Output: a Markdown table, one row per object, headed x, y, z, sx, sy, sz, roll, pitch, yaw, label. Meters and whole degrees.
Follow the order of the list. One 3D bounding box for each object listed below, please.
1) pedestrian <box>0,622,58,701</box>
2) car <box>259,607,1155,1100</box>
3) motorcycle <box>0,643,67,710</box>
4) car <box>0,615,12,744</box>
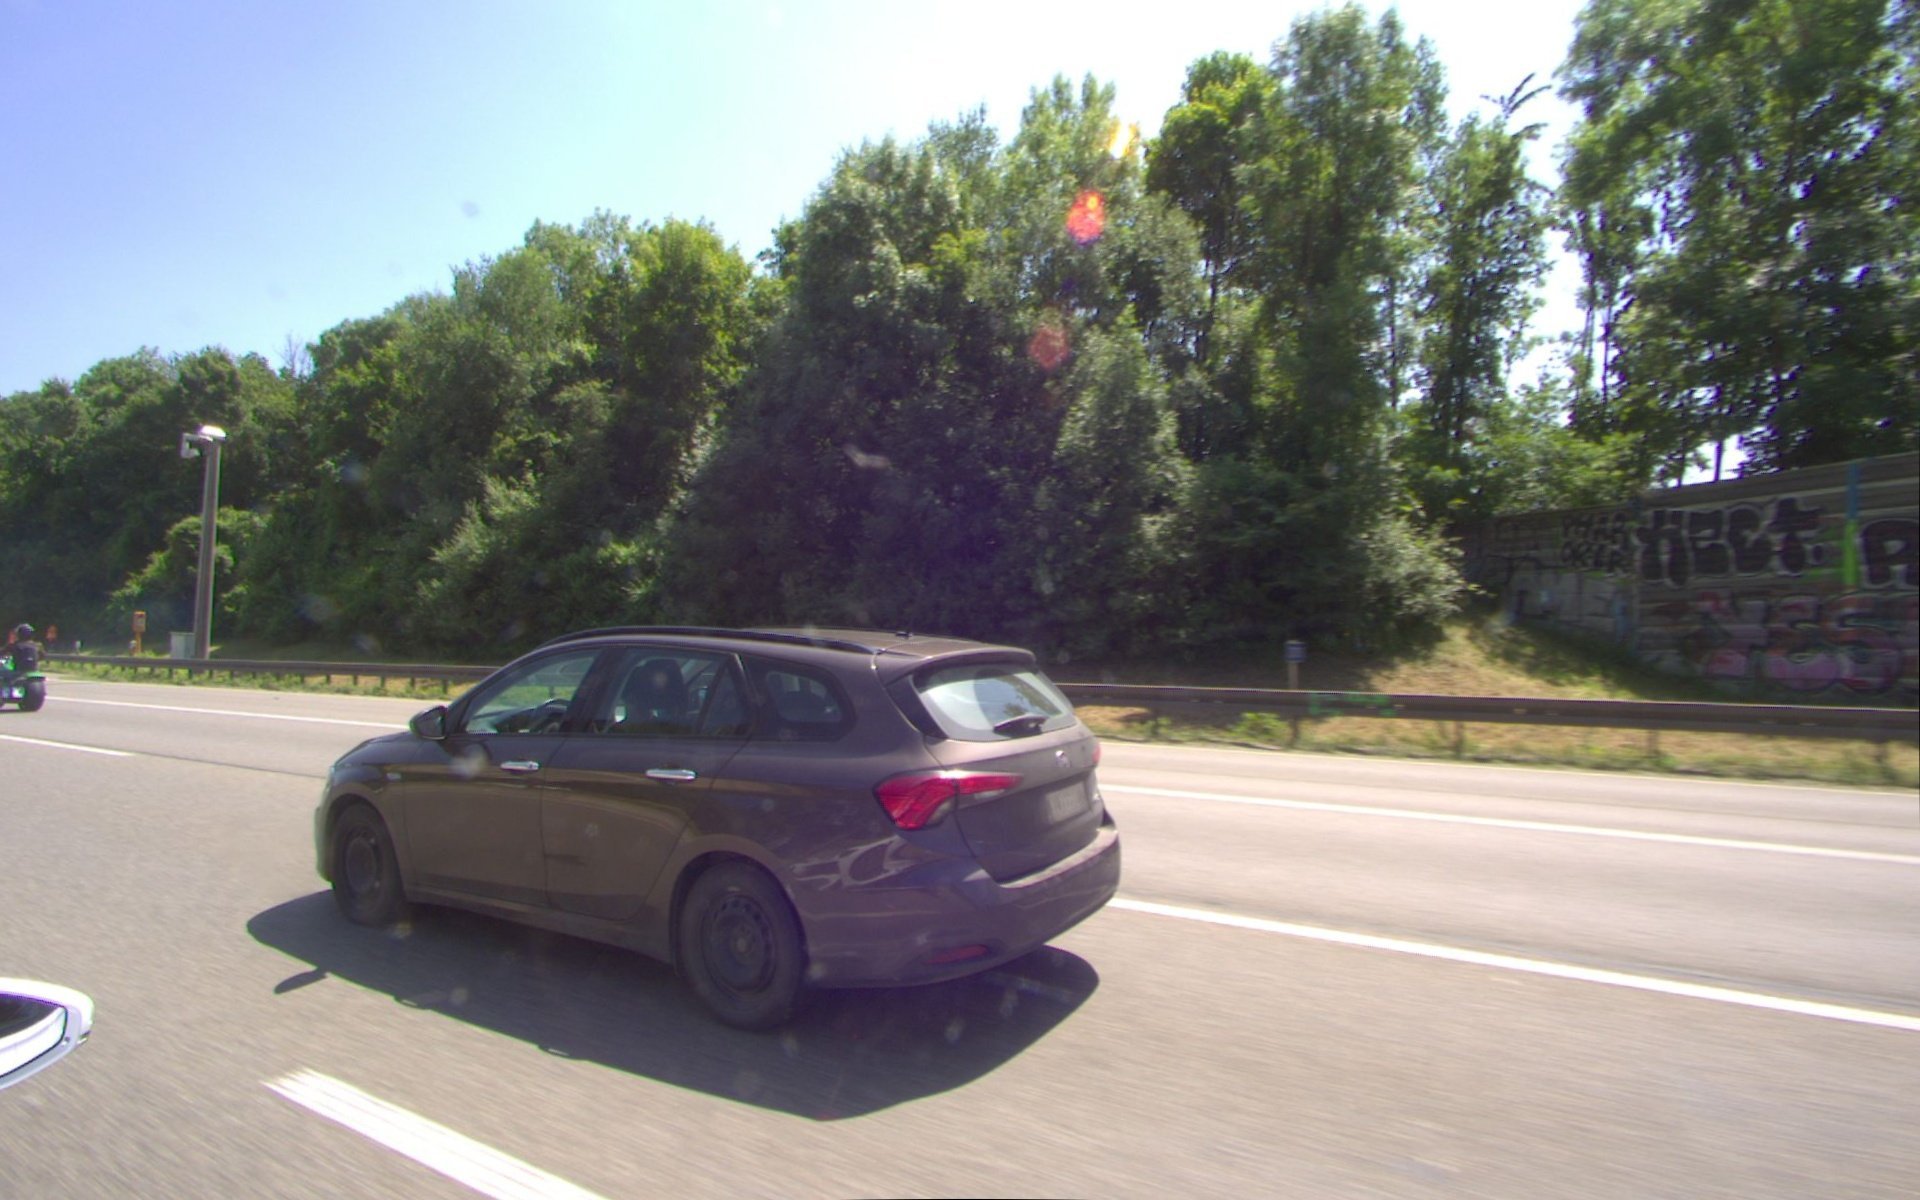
| x | y | z | sx | sy | sz | roll | pitch | yaw | label |
| --- | --- | --- | --- | --- | --- | --- | --- | --- | --- |
| -18.324 | 1.197 | 19.613 | 0.630 | 1.497 | 0.849 | 0 | -1 | 36 | pedestrian |
| -1.410 | 0.839 | 5.047 | 4.336 | 1.532 | 1.836 | 0 | -2 | 31 | car |
| -18.436 | 1.466 | 19.691 | 2.247 | 1.197 | 0.857 | 0 | -2 | 37 | motorcycle |
| -14.152 | 1.008 | 12.930 | 3.823 | 1.629 | 1.868 | -1 | -2 | 32 | car |
